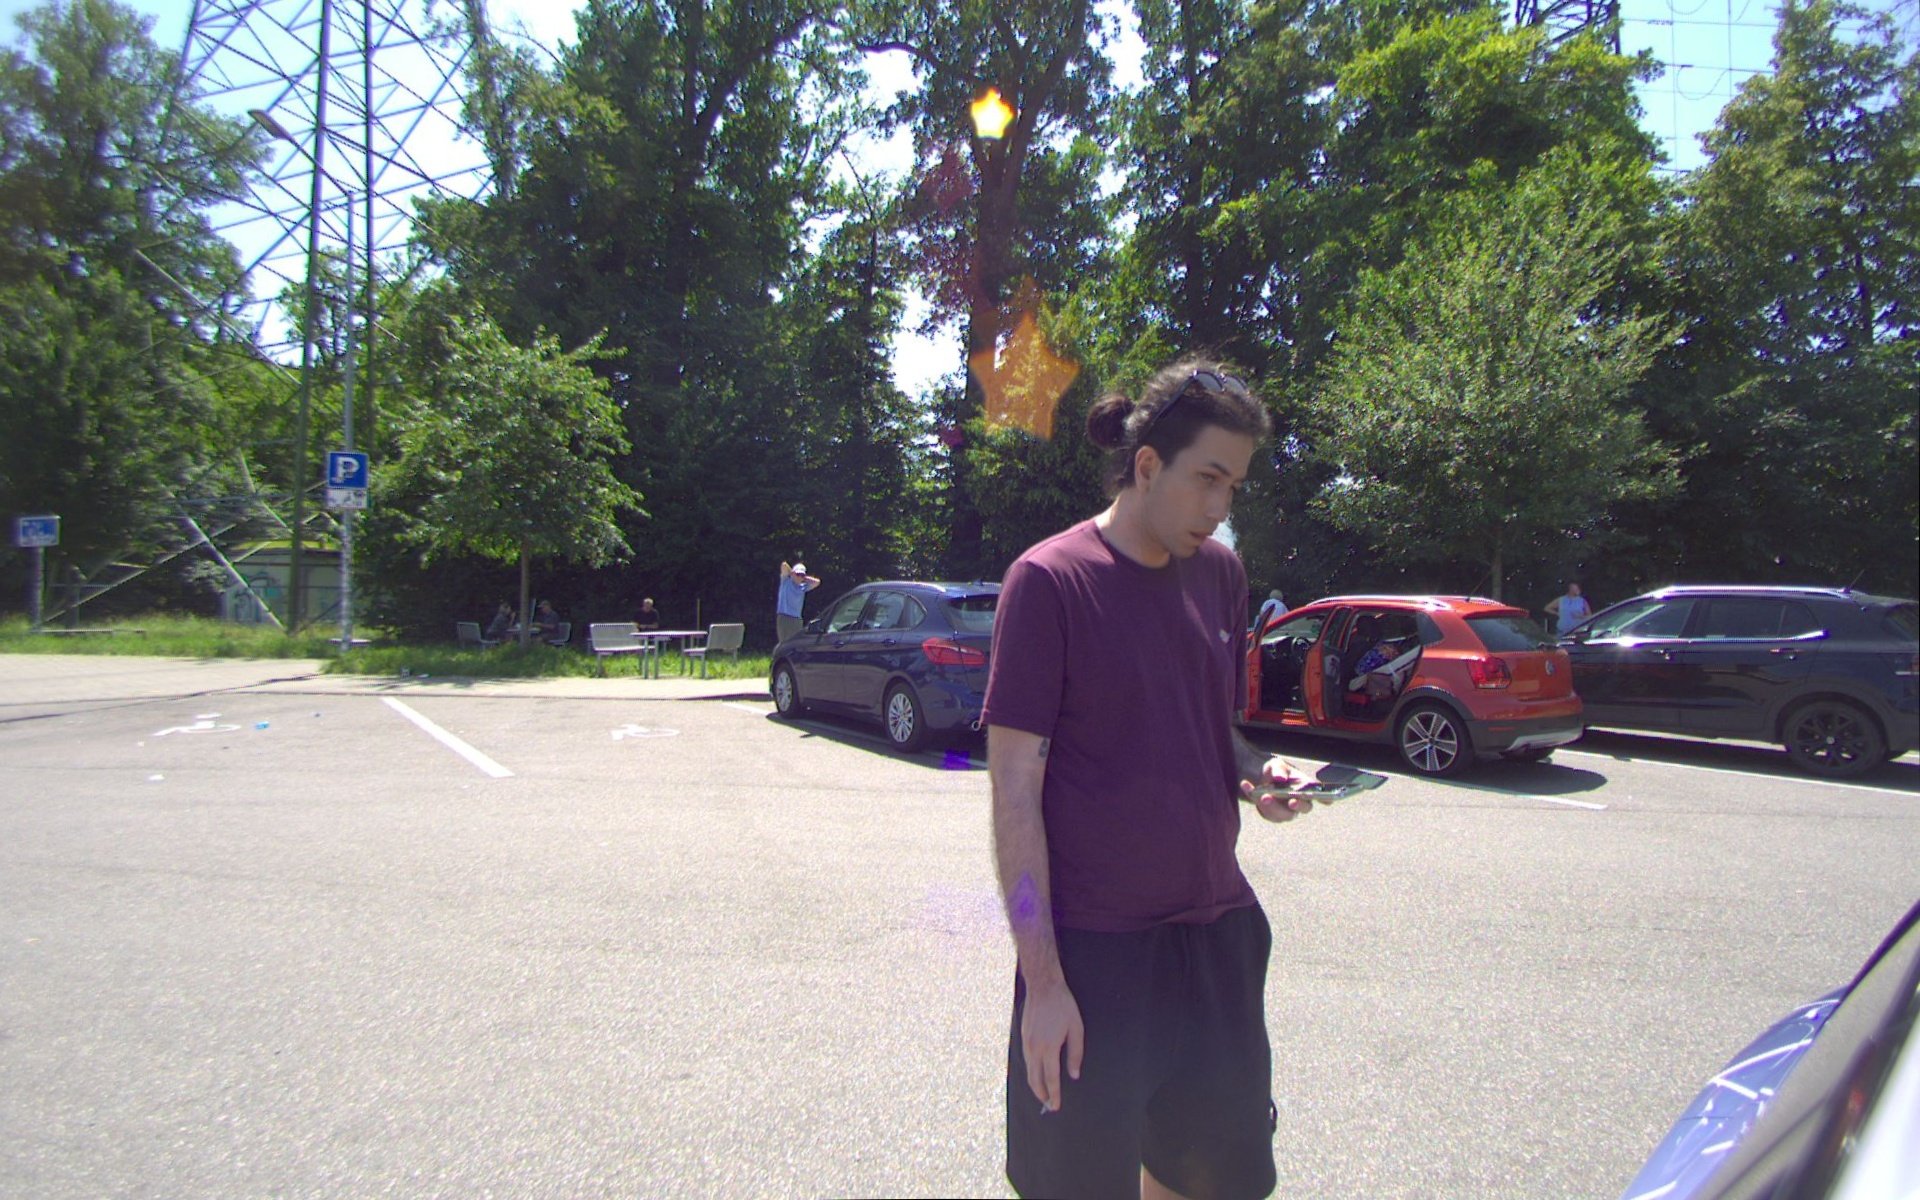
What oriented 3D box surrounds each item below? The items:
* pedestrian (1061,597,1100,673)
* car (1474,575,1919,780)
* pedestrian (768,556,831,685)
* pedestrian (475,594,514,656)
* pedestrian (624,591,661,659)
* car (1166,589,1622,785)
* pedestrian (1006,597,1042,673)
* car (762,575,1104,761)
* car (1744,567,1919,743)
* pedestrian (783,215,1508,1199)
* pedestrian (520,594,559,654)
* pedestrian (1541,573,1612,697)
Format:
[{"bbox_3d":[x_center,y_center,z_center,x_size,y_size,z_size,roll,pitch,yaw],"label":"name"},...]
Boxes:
[{"bbox_3d":[2.024,0.577,17.013,0.576,1.251,0.697,0,-1,1],"label":"pedestrian"},{"bbox_3d":[7.228,0.590,9.706,1.707,1.607,3.732,1,0,-39],"label":"car"},{"bbox_3d":[-2.258,0.274,14.196,0.662,1.754,0.835,1,0,-24],"label":"pedestrian"},{"bbox_3d":[-10.510,0.553,22.837,0.687,1.352,0.563,0,0,-40],"label":"pedestrian"},{"bbox_3d":[-6.680,0.519,21.315,0.553,1.408,0.700,0,0,2],"label":"pedestrian"},{"bbox_3d":[3.863,0.640,9.591,1.559,1.467,3.737,1,0,-33],"label":"car"},{"bbox_3d":[1.077,0.582,17.079,0.576,1.251,0.697,0,-1,1],"label":"pedestrian"},{"bbox_3d":[-0.475,0.553,10.664,1.776,1.562,3.940,1,0,-34],"label":"car"},{"bbox_3d":[10.738,0.546,9.785,1.961,1.734,4.621,0,1,-32],"label":"car"},{"bbox_3d":[0.285,0.500,1.711,0.845,1.857,0.864,0,0,-38],"label":"pedestrian"},{"bbox_3d":[-9.752,0.543,23.476,0.687,1.352,0.563,0,0,-40],"label":"pedestrian"},{"bbox_3d":[9.341,0.517,15.348,0.752,1.854,0.520,0,0,5],"label":"pedestrian"}]
